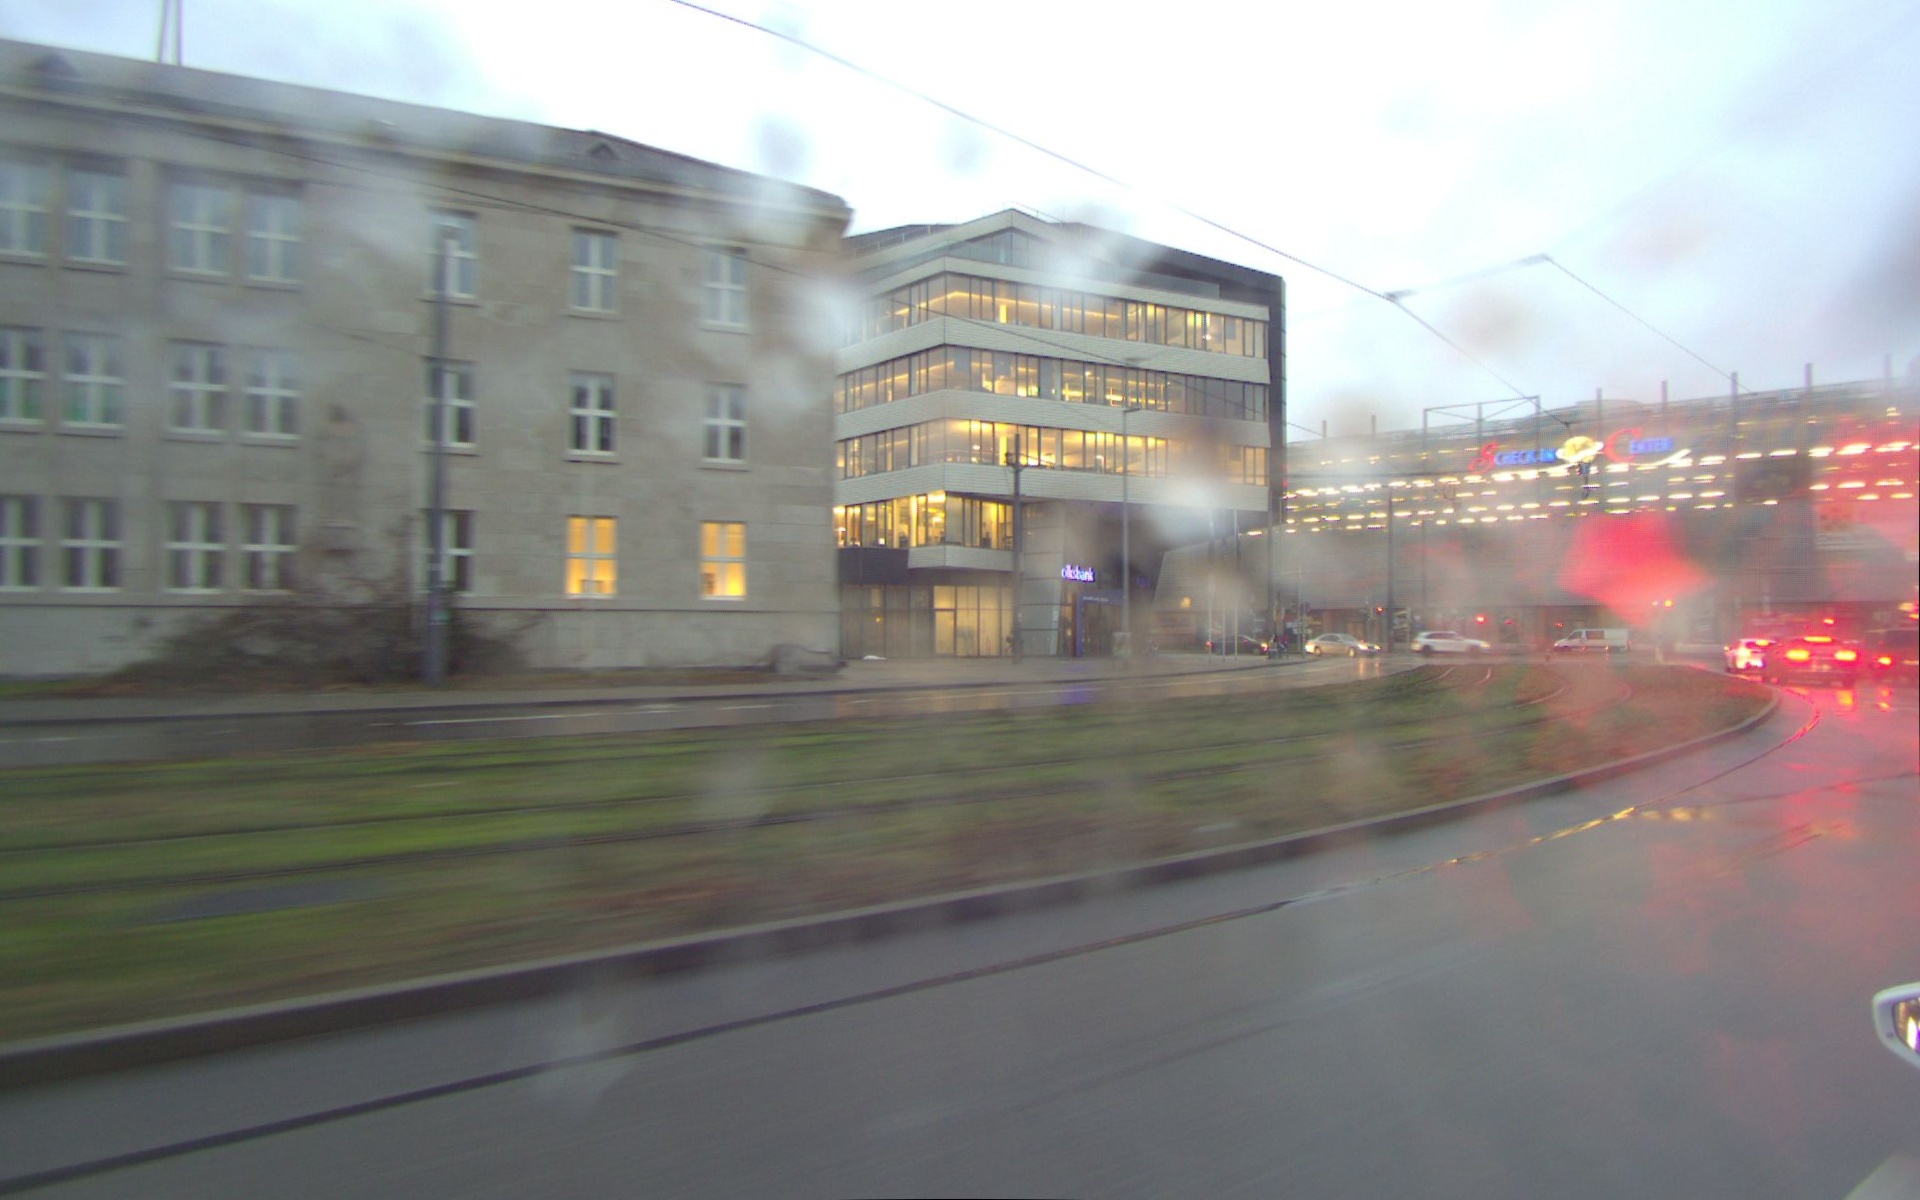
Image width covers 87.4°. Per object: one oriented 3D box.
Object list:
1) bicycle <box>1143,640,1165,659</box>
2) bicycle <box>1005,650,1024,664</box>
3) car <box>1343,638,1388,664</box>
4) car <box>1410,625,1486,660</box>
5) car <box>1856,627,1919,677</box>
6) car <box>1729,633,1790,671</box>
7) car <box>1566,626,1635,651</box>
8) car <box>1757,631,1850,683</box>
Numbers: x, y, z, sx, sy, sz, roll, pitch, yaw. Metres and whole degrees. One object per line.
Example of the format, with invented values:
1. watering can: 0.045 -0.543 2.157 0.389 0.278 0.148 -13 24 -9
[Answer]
1. bicycle: 11.879 3.025 61.607 0.548 1.104 1.602 -2 -3 43
2. bicycle: 2.826 2.938 51.908 0.903 0.724 0.479 1 -2 -34
3. car: 25.578 3.168 63.252 1.796 1.454 4.643 1 -1 33
4. car: 31.683 2.728 65.205 4.292 2.040 1.996 1 0 31
5. car: 33.576 1.853 35.937 1.612 1.719 3.663 0 -2 31
6. car: 34.084 2.200 42.917 1.861 1.505 3.986 -1 -3 36
7. car: 56.619 3.386 88.883 5.004 1.988 1.887 1 0 31
8. car: 27.627 1.841 33.019 1.728 1.594 3.991 -1 -3 31
